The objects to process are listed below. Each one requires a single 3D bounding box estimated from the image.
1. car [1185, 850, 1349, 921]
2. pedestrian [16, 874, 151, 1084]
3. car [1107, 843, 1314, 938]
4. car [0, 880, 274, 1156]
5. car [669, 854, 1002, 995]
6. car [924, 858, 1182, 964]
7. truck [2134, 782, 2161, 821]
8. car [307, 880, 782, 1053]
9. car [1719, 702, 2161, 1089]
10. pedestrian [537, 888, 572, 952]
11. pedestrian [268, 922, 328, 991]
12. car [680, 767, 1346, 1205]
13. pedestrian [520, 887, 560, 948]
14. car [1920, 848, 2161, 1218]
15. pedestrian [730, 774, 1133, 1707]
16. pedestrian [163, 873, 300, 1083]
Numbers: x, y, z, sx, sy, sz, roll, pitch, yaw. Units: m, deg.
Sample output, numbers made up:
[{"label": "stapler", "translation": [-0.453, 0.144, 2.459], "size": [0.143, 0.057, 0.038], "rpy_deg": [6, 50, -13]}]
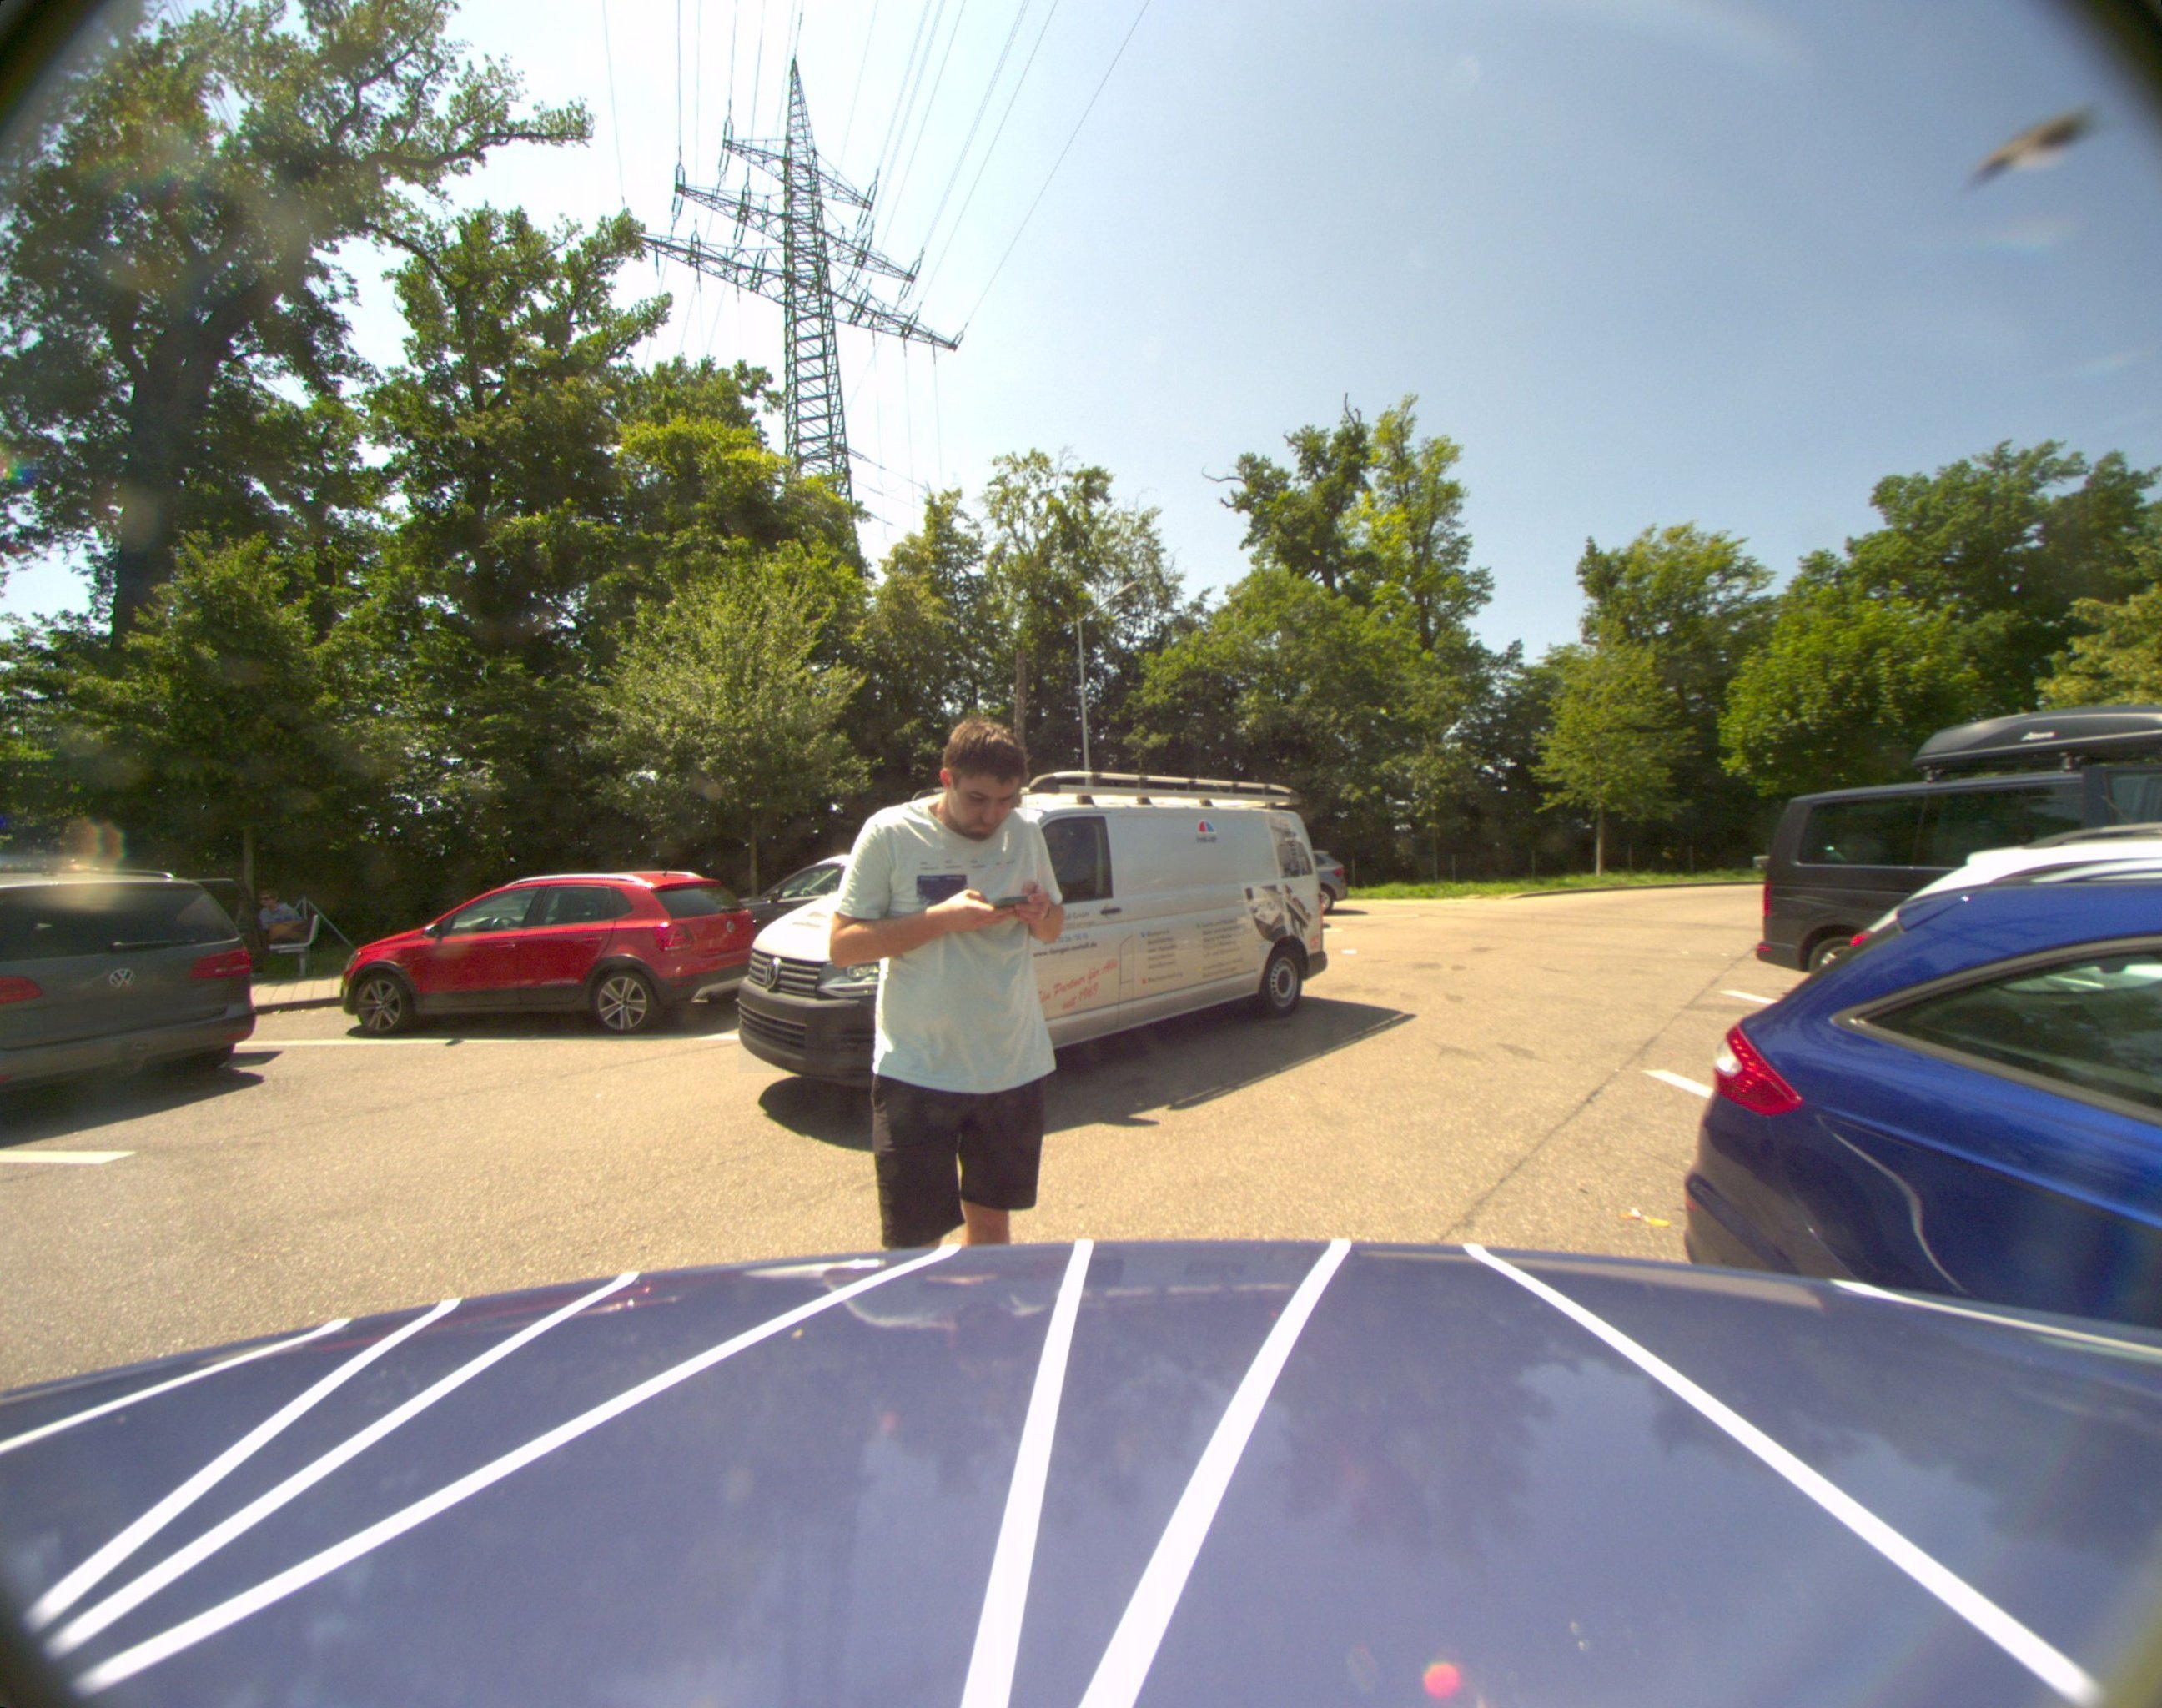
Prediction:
[{"label": "car", "translation": [4.322, 0.728, 18.105], "size": [3.585, 1.493, 1.707], "rpy_deg": [-2, 1, 8]}, {"label": "pedestrian", "translation": [-8.566, 1.042, 6.539], "size": [0.436, 1.712, 0.511], "rpy_deg": [-2, 1, 17]}, {"label": "car", "translation": [2.523, 0.698, 15.340], "size": [3.850, 1.678, 1.755], "rpy_deg": [-2, 0, 4]}, {"label": "car", "translation": [-8.377, 1.084, 5.412], "size": [3.903, 1.607, 1.705], "rpy_deg": [-2, 1, 11]}, {"label": "car", "translation": [-3.120, 0.879, 10.221], "size": [3.866, 1.607, 1.709], "rpy_deg": [-2, 0, 0]}, {"label": "car", "translation": [-0.359, 0.859, 12.115], "size": [3.773, 1.445, 1.848], "rpy_deg": [-2, 0, 4]}, {"label": "truck", "translation": [40.210, -1.975, 27.079], "size": [1.168, 1.367, 2.882], "rpy_deg": [-2, -1, -19]}, {"label": "car", "translation": [-5.243, 1.069, 7.685], "size": [3.745, 1.458, 1.621], "rpy_deg": [-2, 0, 7]}, {"label": "car", "translation": [7.247, 0.231, 5.354], "size": [1.788, 2.304, 4.084], "rpy_deg": [-2, 0, -5]}, {"label": "pedestrian", "translation": [-10.097, 1.259, 14.575], "size": [0.366, 1.186, 0.356], "rpy_deg": [-2, 1, 21]}, {"label": "pedestrian", "translation": [-10.823, 1.404, 10.515], "size": [0.503, 0.874, 0.512], "rpy_deg": [-2, 0, -39]}, {"label": "car", "translation": [0.010, 0.598, 6.192], "size": [5.445, 2.092, 1.839], "rpy_deg": [-2, 1, -45]}, {"label": "pedestrian", "translation": [-10.938, 1.284, 15.373], "size": [0.413, 1.186, 0.443], "rpy_deg": [-2, 1, 12]}, {"label": "car", "translation": [4.672, 0.654, 2.063], "size": [1.344, 1.352, 3.114], "rpy_deg": [-2, 0, 1]}, {"label": "pedestrian", "translation": [-0.384, 0.757, 1.886], "size": [0.741, 1.818, 0.613], "rpy_deg": [-2, 0, -34]}, {"label": "pedestrian", "translation": [-7.382, 1.041, 6.619], "size": [0.481, 1.712, 0.589], "rpy_deg": [-2, 1, 22]}]
